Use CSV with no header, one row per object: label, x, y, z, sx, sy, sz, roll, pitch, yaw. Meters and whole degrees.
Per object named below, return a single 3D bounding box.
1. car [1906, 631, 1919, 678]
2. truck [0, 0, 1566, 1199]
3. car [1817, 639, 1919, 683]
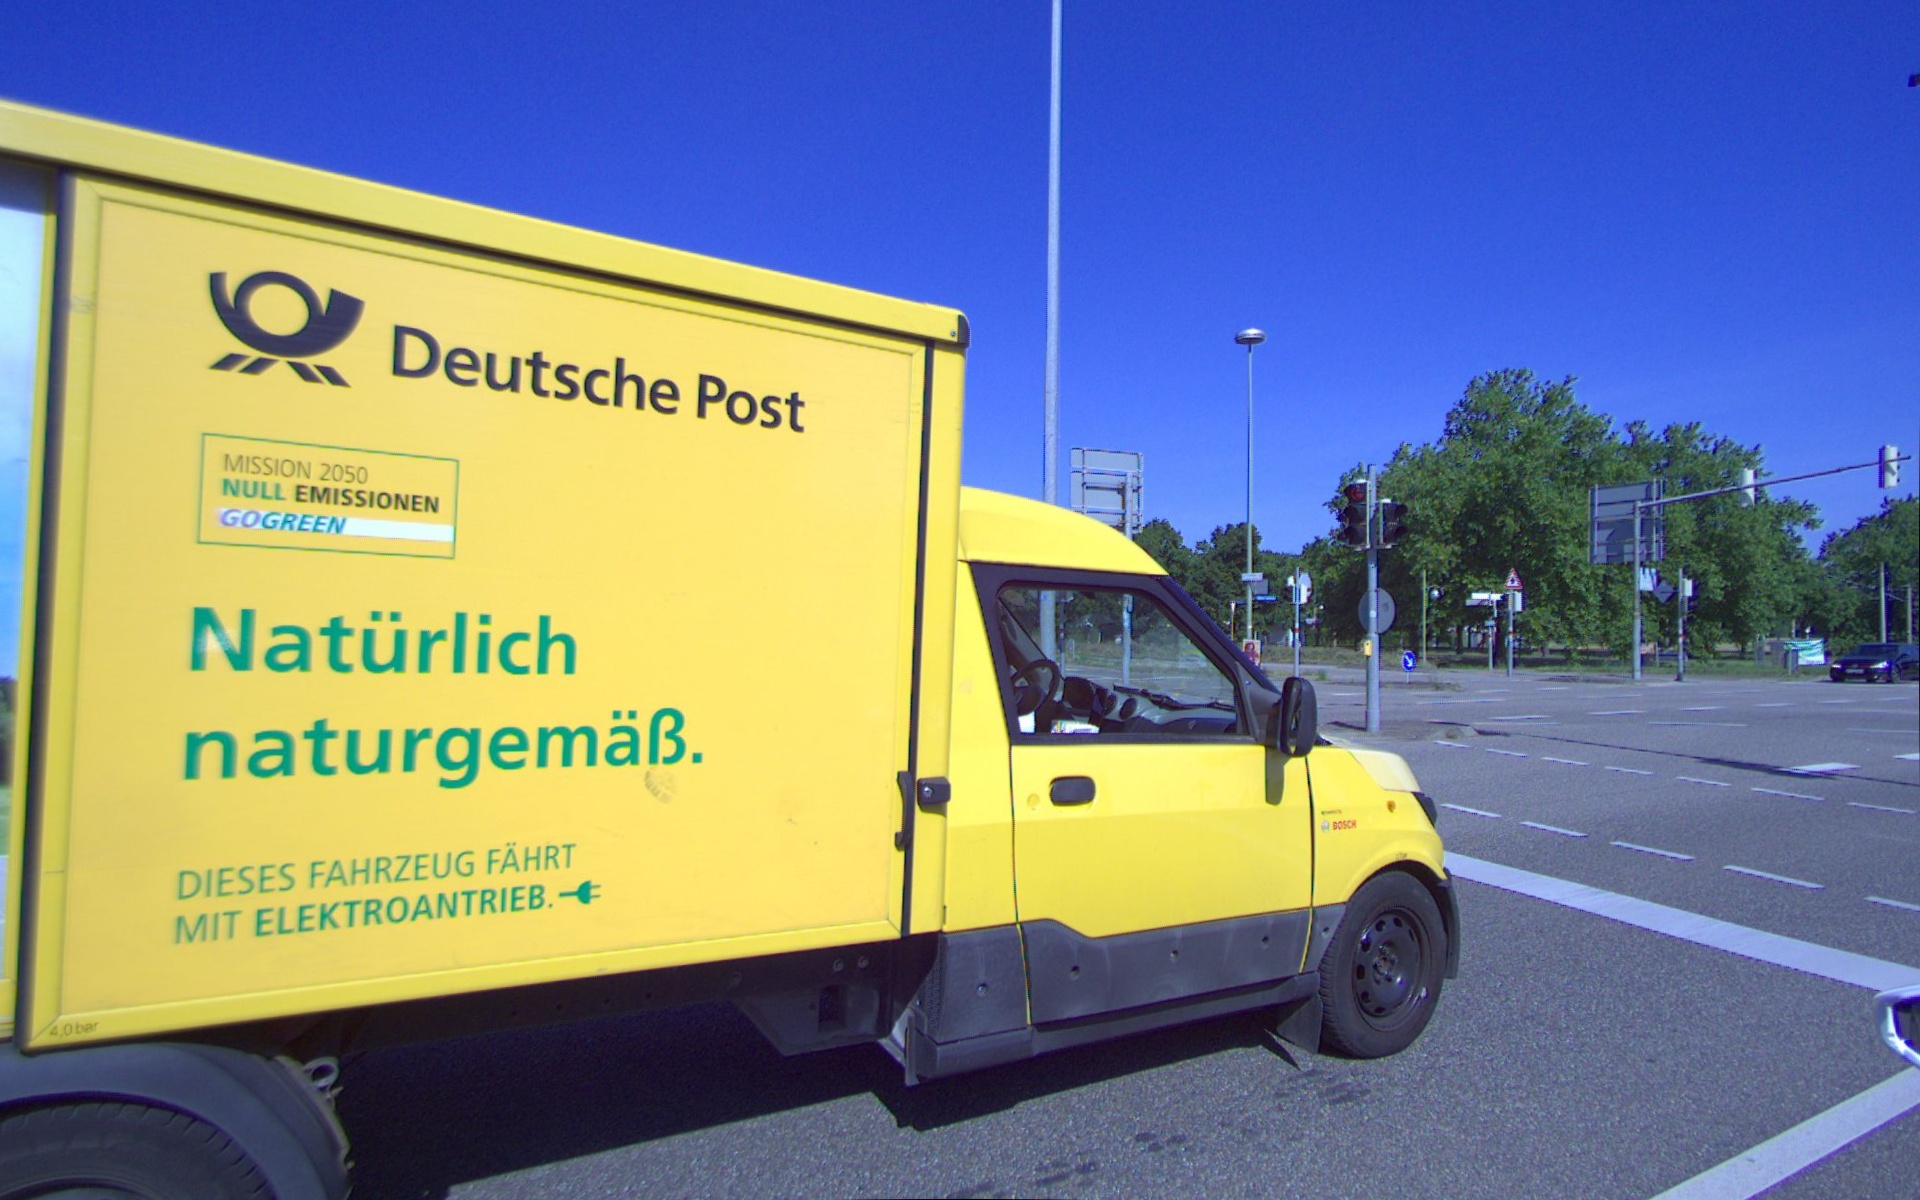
car,38.603,2.127,39.030,4.182,1.793,1.695,2,-3,-32
truck,-0.984,0.204,2.987,5.845,2.490,2.102,2,0,-29
car,33.226,2.193,36.371,4.173,1.476,1.879,2,-2,-26
